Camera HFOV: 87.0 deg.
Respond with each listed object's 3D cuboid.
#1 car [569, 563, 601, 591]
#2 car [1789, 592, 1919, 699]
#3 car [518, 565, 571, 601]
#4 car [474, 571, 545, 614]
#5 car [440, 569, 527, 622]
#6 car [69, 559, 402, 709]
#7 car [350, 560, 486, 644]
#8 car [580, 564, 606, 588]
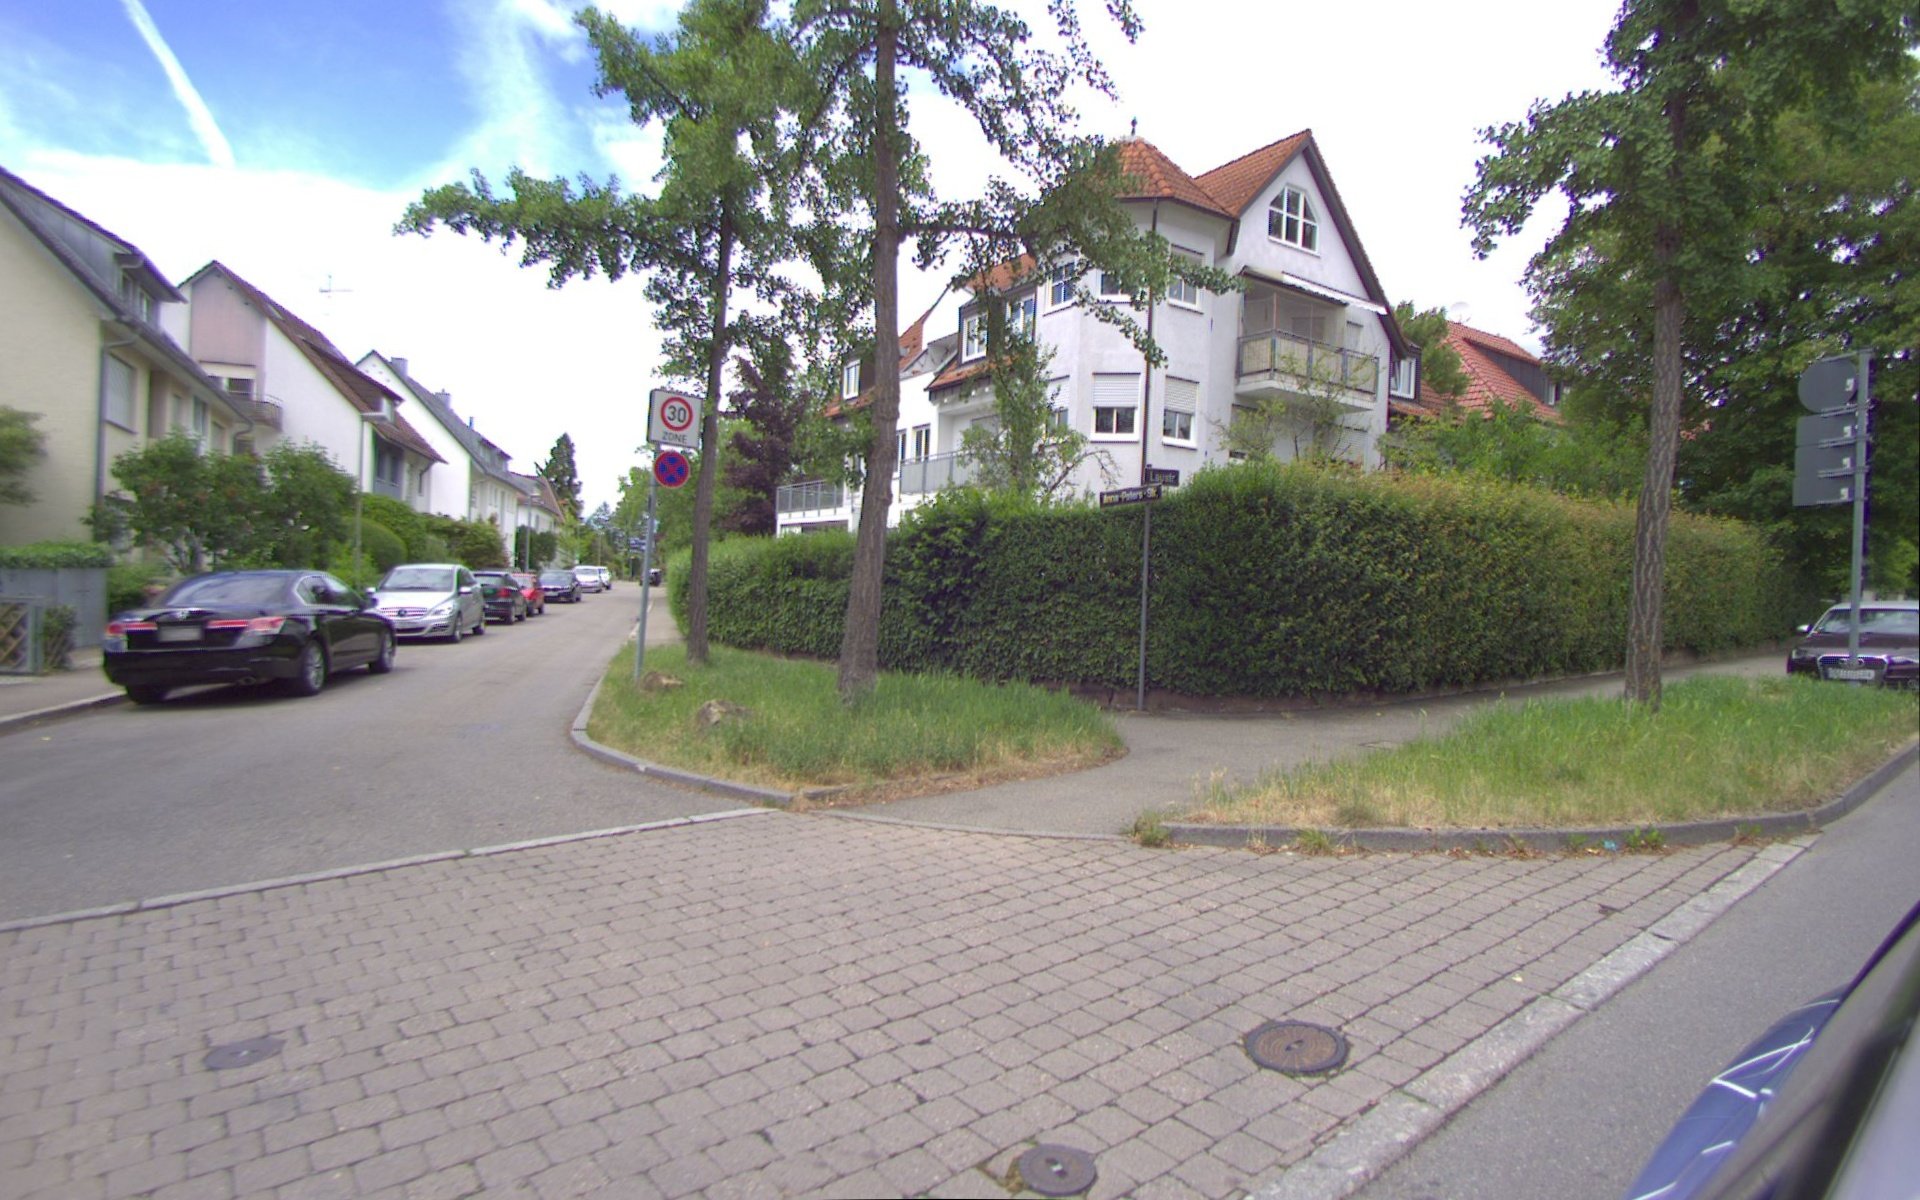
[{"bbox_3d":[-23.127,-1.420,62.453,1.667,1.679,3.946,-1,1,-18],"label":"car"},{"bbox_3d":[14.036,0.595,15.193,3.721,1.430,1.714,0,0,-38],"label":"car"},{"bbox_3d":[-18.582,-0.771,45.410,1.830,1.482,4.471,-1,2,-18],"label":"car"},{"bbox_3d":[-14.830,-0.275,33.480,1.676,1.329,3.875,1,1,-17],"label":"car"},{"bbox_3d":[-13.361,-0.158,28.573,1.703,1.387,4.014,1,1,-18],"label":"car"},{"bbox_3d":[-8.587,0.280,12.543,1.830,1.482,4.471,-1,2,-14],"label":"car"},{"bbox_3d":[-11.350,-0.016,21.458,1.727,1.574,3.978,-1,1,-16],"label":"car"},{"bbox_3d":[-26.478,-1.764,73.046,1.616,1.669,3.744,-1,1,-18],"label":"car"}]
